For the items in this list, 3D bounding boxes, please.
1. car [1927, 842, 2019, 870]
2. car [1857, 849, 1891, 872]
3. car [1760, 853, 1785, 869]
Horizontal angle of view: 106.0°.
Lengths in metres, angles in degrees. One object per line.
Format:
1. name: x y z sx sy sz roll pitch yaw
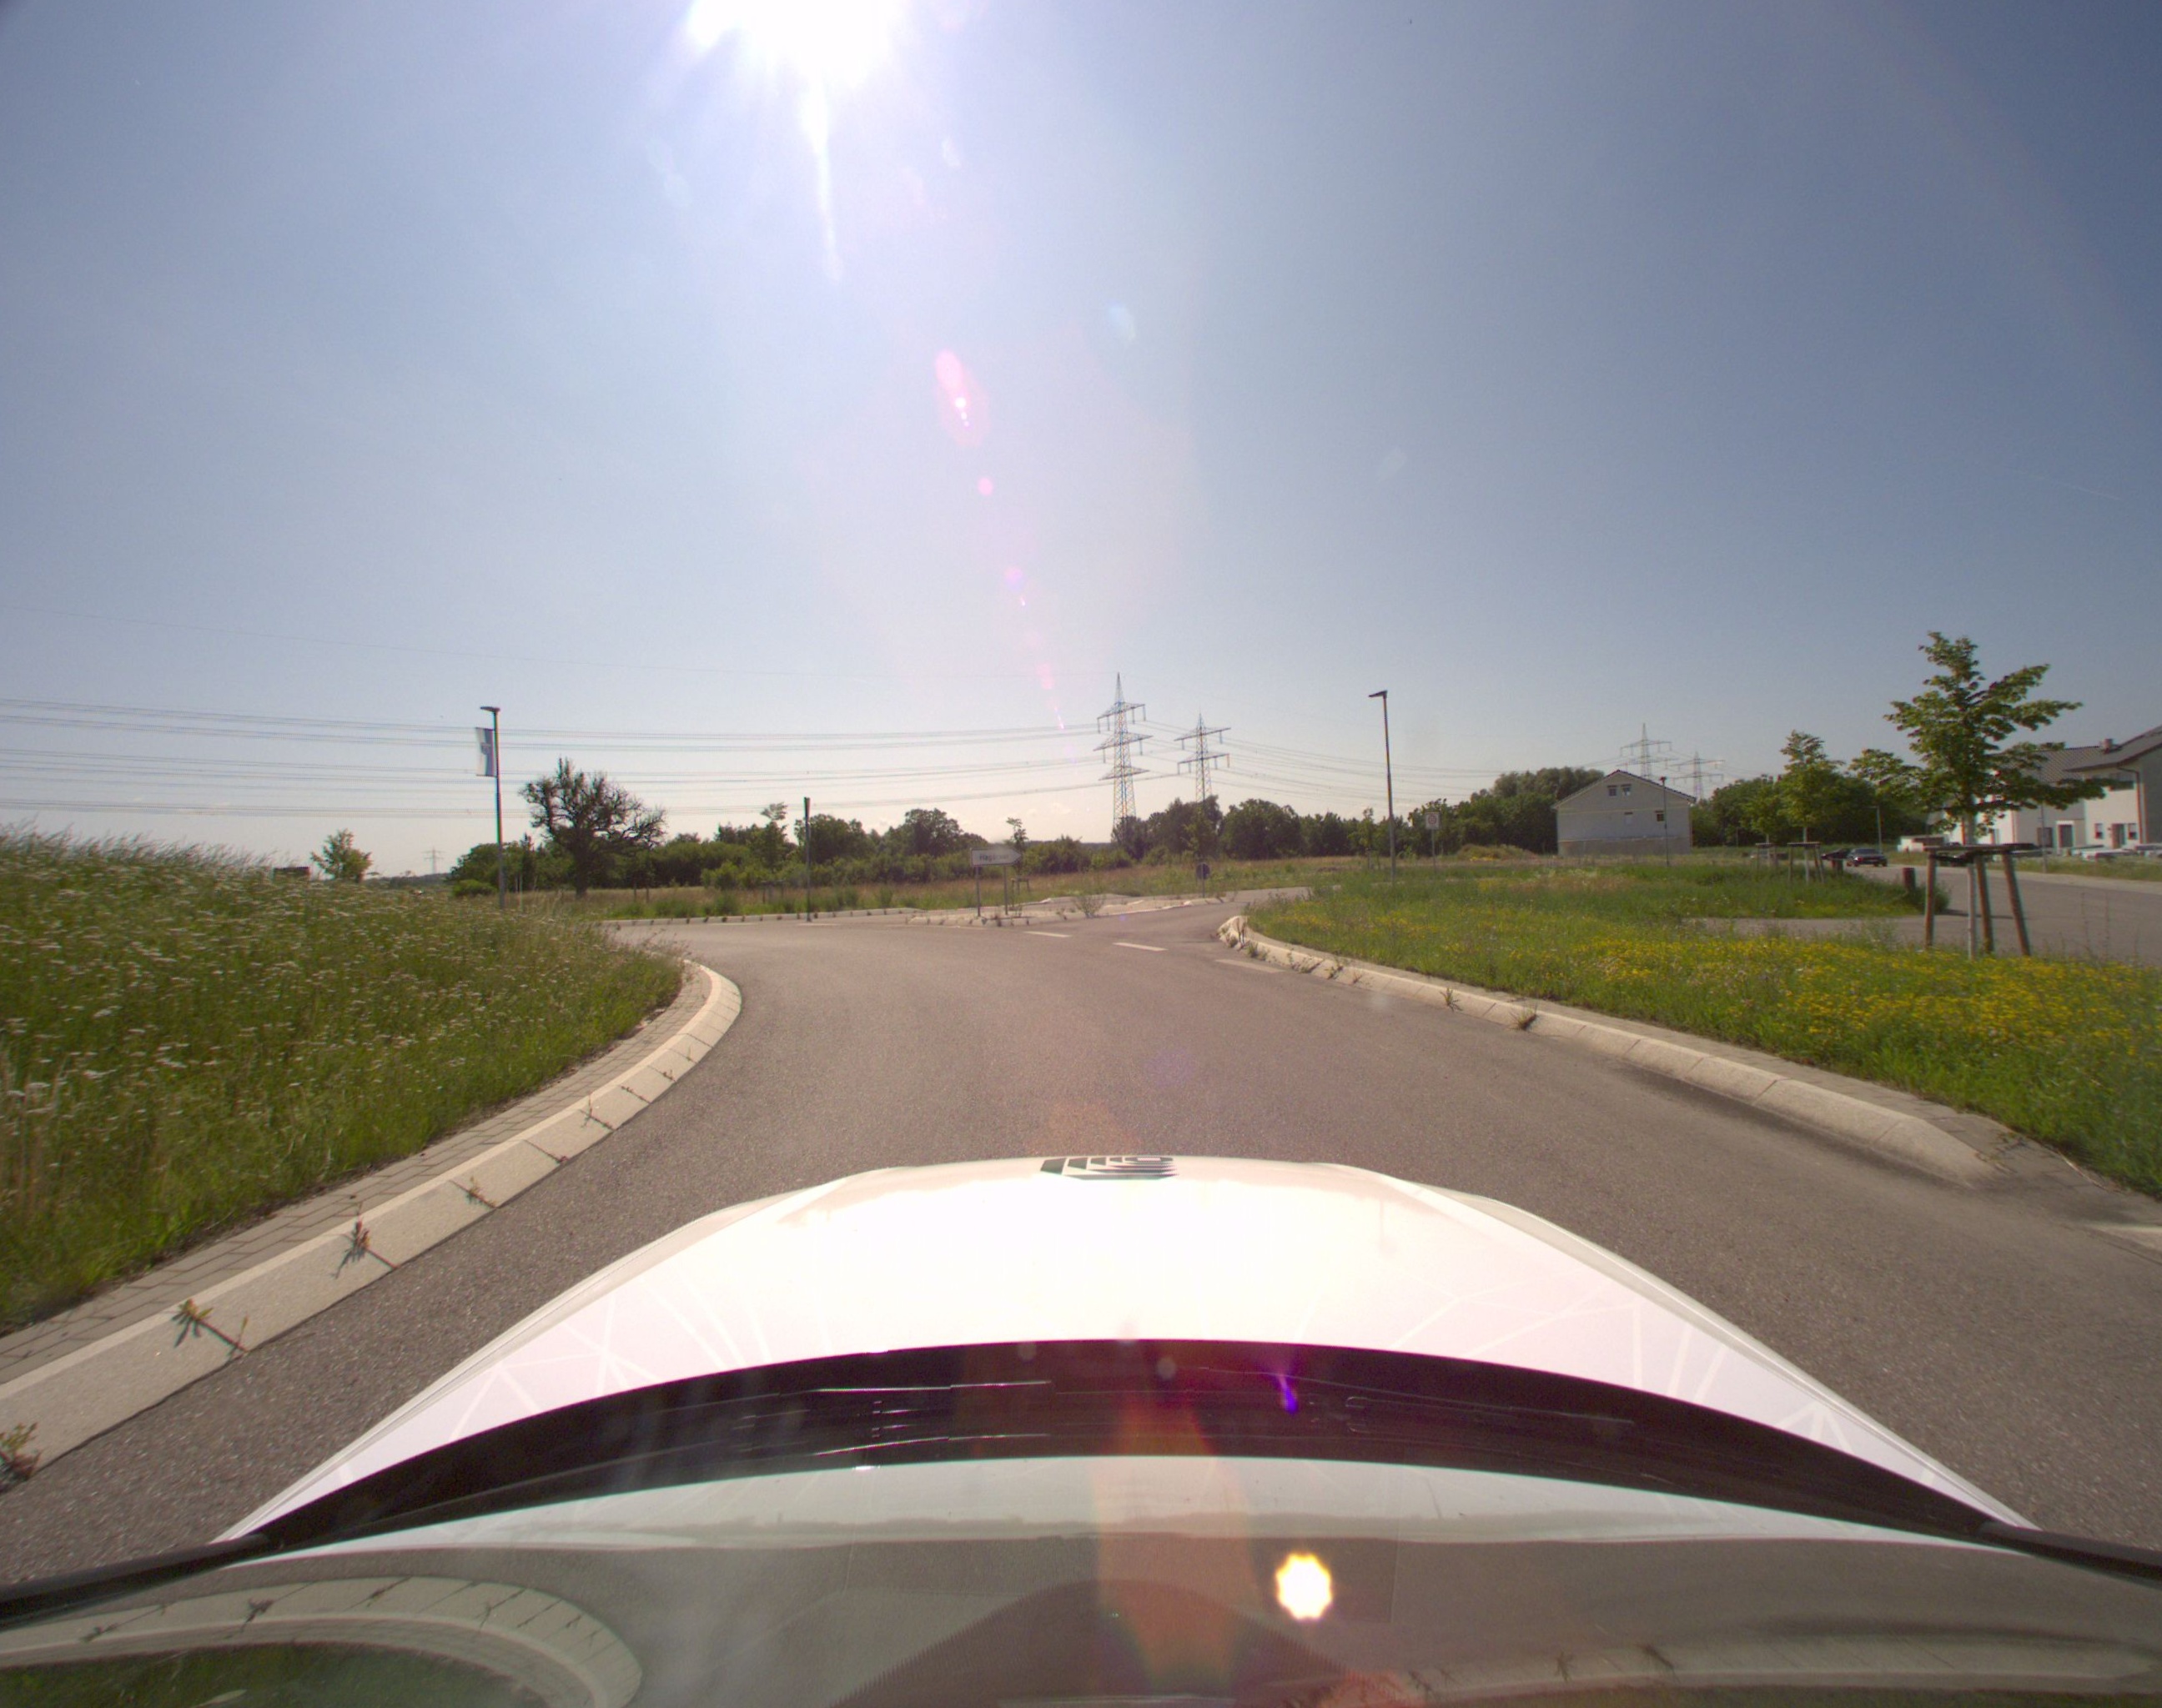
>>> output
1. car: 61.624 0.137 56.350 3.948 1.794 2.013 -2 -2 38
2. car: 61.281 0.506 62.914 3.506 1.662 1.661 1 -3 -43
3. car: 73.388 0.746 86.414 3.506 1.662 1.661 1 -3 -43
